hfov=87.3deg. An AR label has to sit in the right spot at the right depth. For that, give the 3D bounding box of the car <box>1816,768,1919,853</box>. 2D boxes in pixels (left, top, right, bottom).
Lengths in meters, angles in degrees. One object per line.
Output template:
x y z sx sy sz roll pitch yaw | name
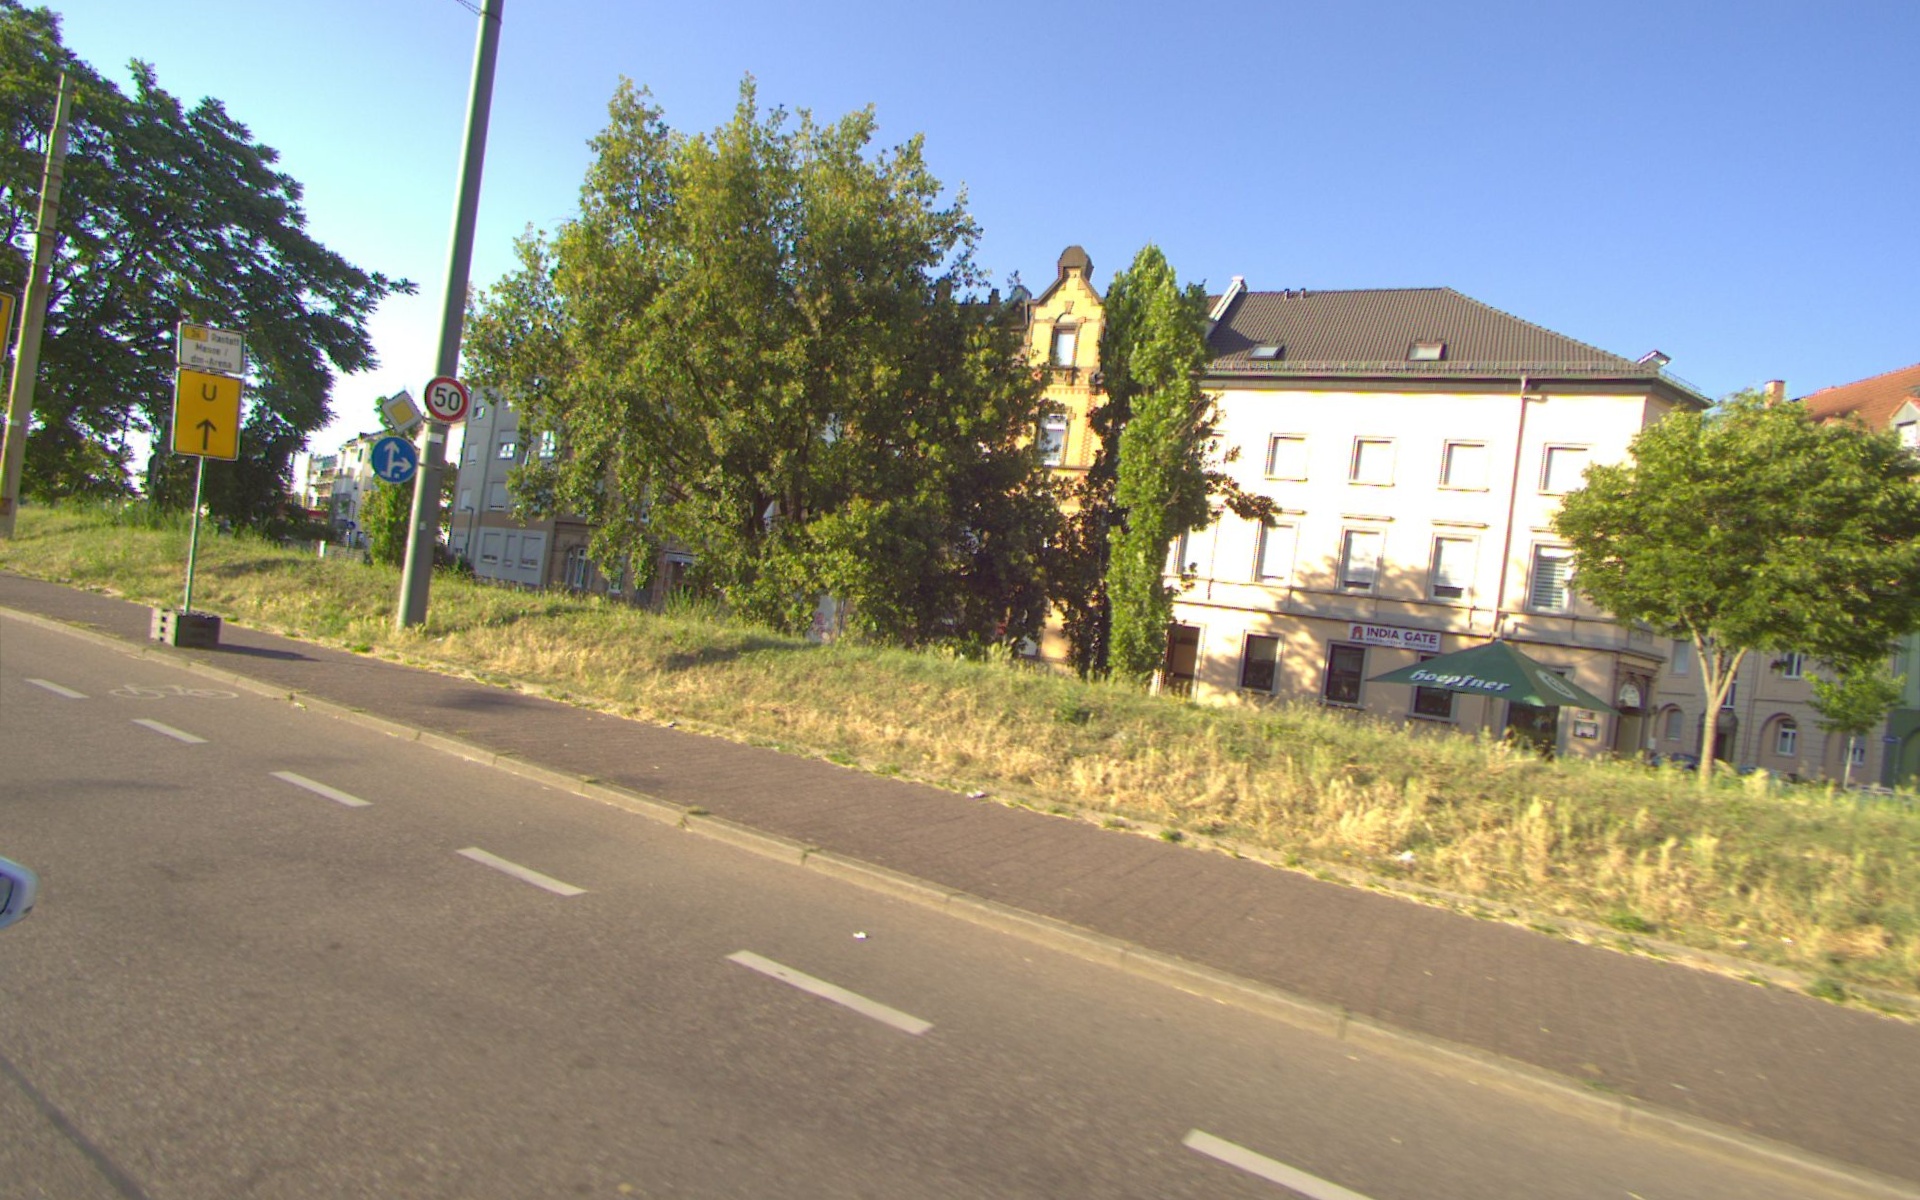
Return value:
19.159 4.251 19.480 3.639 1.273 1.707 8 -1 -1 | car

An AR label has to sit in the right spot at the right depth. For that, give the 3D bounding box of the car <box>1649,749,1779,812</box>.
24.890 5.930 33.372 1.528 1.400 3.641 8 -2 2 | car

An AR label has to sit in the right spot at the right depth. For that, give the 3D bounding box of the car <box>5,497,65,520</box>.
-80.094 -7.911 87.148 3.691 1.316 1.493 9 -2 -43 | car

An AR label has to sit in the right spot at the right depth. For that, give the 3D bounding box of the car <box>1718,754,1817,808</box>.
31.023 6.936 38.750 1.291 1.531 3.013 7 -2 2 | car

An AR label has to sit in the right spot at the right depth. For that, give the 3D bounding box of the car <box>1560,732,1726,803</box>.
16.571 4.046 24.619 1.495 1.057 3.542 8 -2 -1 | car

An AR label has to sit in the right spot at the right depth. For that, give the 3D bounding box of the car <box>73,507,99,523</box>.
-96.411 -9.358 110.952 1.865 1.476 3.746 8 0 -38 | car

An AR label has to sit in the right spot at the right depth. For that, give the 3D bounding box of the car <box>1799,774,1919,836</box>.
30.912 6.979 34.449 1.291 1.435 3.634 8 -2 2 | car

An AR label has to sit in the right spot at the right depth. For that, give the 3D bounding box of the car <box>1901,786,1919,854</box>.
18.126 3.981 16.549 3.639 1.102 1.707 8 -1 -1 | car
